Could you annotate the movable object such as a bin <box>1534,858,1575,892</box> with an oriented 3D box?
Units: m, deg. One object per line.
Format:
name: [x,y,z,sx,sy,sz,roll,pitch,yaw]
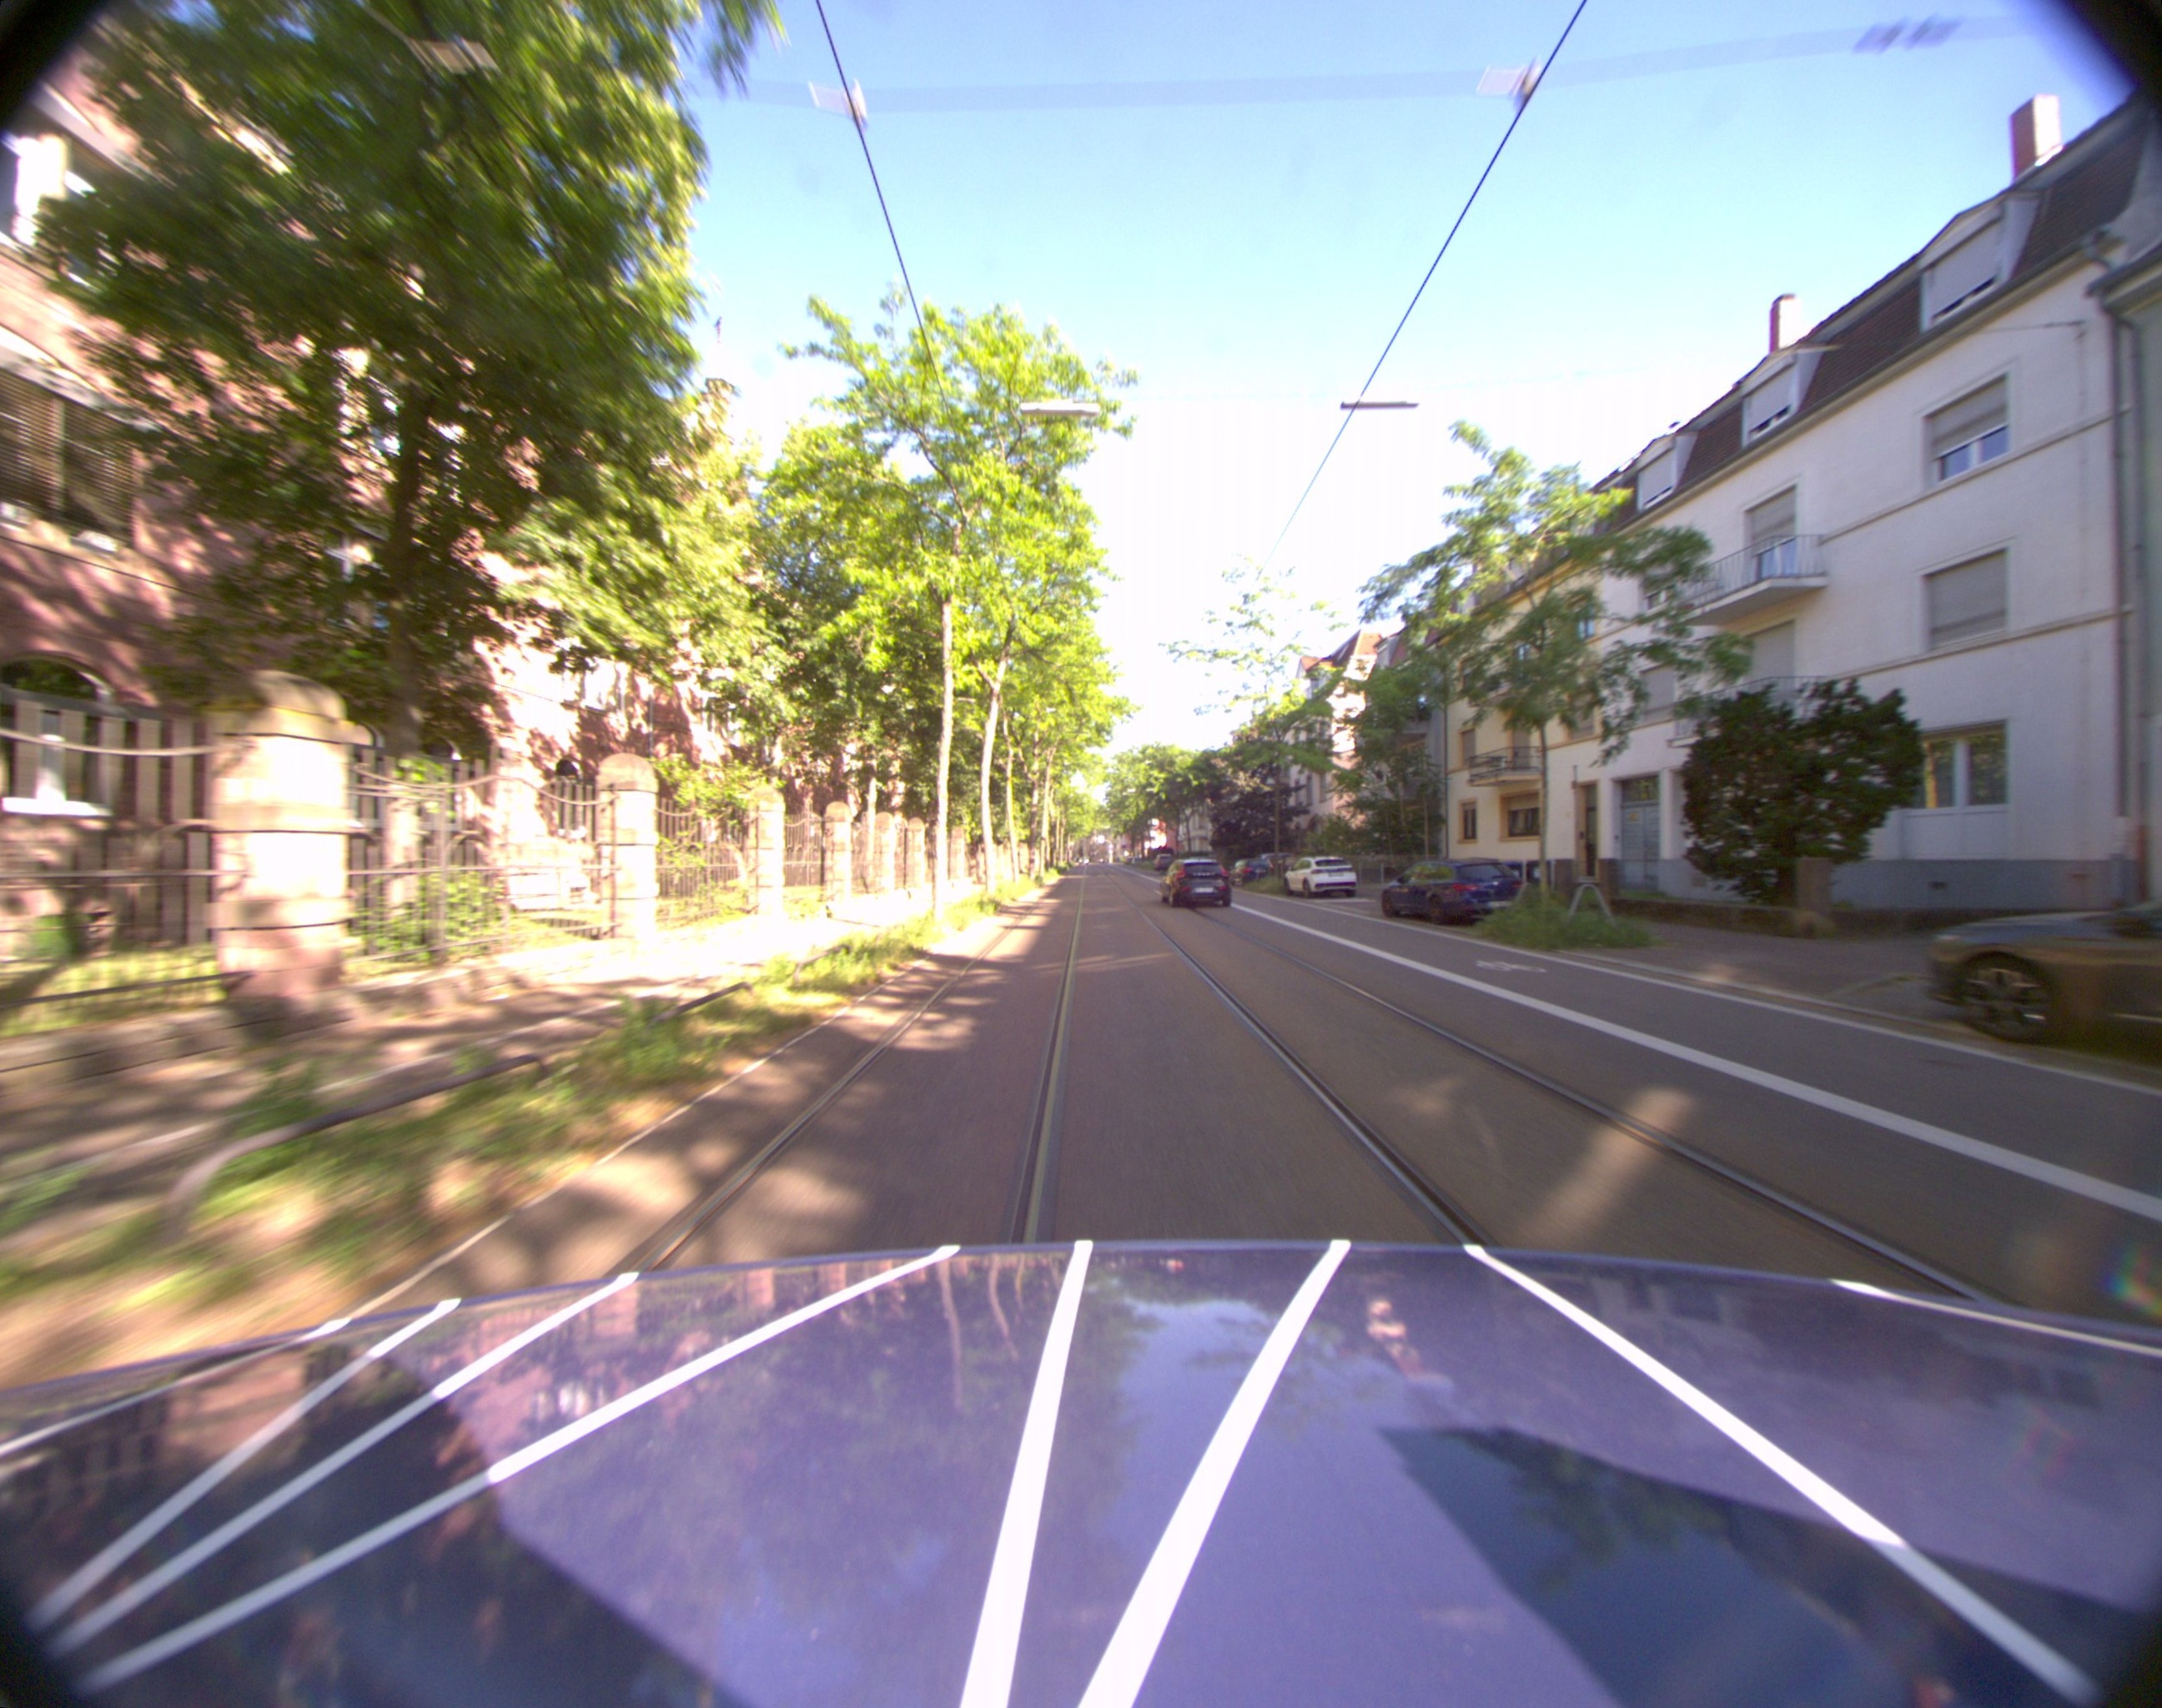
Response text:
movable object such as a bin: [15.190,0.674,24.391,0.846,1.040,0.733,-3,0,4]

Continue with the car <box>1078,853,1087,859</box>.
car: [0.388,0.604,213.259,1.880,1.390,3.996,-3,0,-10]

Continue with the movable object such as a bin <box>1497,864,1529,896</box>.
movable object such as a bin: [13.490,0.808,23.741,0.561,0.970,0.733,-3,0,4]

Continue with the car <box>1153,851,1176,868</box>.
car: [9.267,0.574,84.574,1.875,1.812,4.771,-2,0,-1]

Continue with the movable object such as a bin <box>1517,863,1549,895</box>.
movable object such as a bin: [14.075,0.770,23.676,0.561,0.970,0.733,-3,0,4]

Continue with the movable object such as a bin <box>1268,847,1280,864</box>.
movable object such as a bin: [12.103,0.082,47.636,0.542,1.060,0.670,-1,1,1]

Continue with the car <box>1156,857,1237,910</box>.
car: [3.489,0.846,23.659,1.762,1.431,4.523,-1,0,-1]

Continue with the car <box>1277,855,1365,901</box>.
car: [8.879,0.840,28.503,1.822,1.502,4.370,-2,0,-1]

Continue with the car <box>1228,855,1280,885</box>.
car: [8.976,0.806,39.743,1.710,1.398,4.333,-2,0,0]

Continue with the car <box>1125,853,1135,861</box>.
car: [9.960,0.607,153.656,1.577,1.446,4.095,-2,0,-2]

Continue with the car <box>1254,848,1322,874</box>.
car: [14.456,0.506,53.191,4.177,1.649,1.983,-2,0,-1]

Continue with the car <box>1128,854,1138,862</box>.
car: [9.883,0.678,144.621,1.558,1.446,3.668,-2,0,0]

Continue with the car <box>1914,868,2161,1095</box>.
car: [8.319,0.894,4.659,1.821,1.476,4.206,-2,0,1]

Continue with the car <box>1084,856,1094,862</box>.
car: [2.042,1.376,205.985,1.880,1.390,3.996,-3,0,-10]

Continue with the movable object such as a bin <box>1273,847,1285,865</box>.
movable object such as a bin: [12.114,0.118,46.503,0.548,1.060,0.510,-1,1,1]

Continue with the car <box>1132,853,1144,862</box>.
car: [9.977,0.631,132.638,1.629,1.526,3.689,-2,0,-1]

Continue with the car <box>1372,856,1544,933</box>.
car: [8.640,0.845,17.911,1.762,1.502,4.438,-2,0,-1]

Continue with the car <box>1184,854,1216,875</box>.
car: [9.203,0.770,59.091,1.781,1.532,4.485,-2,0,1]
